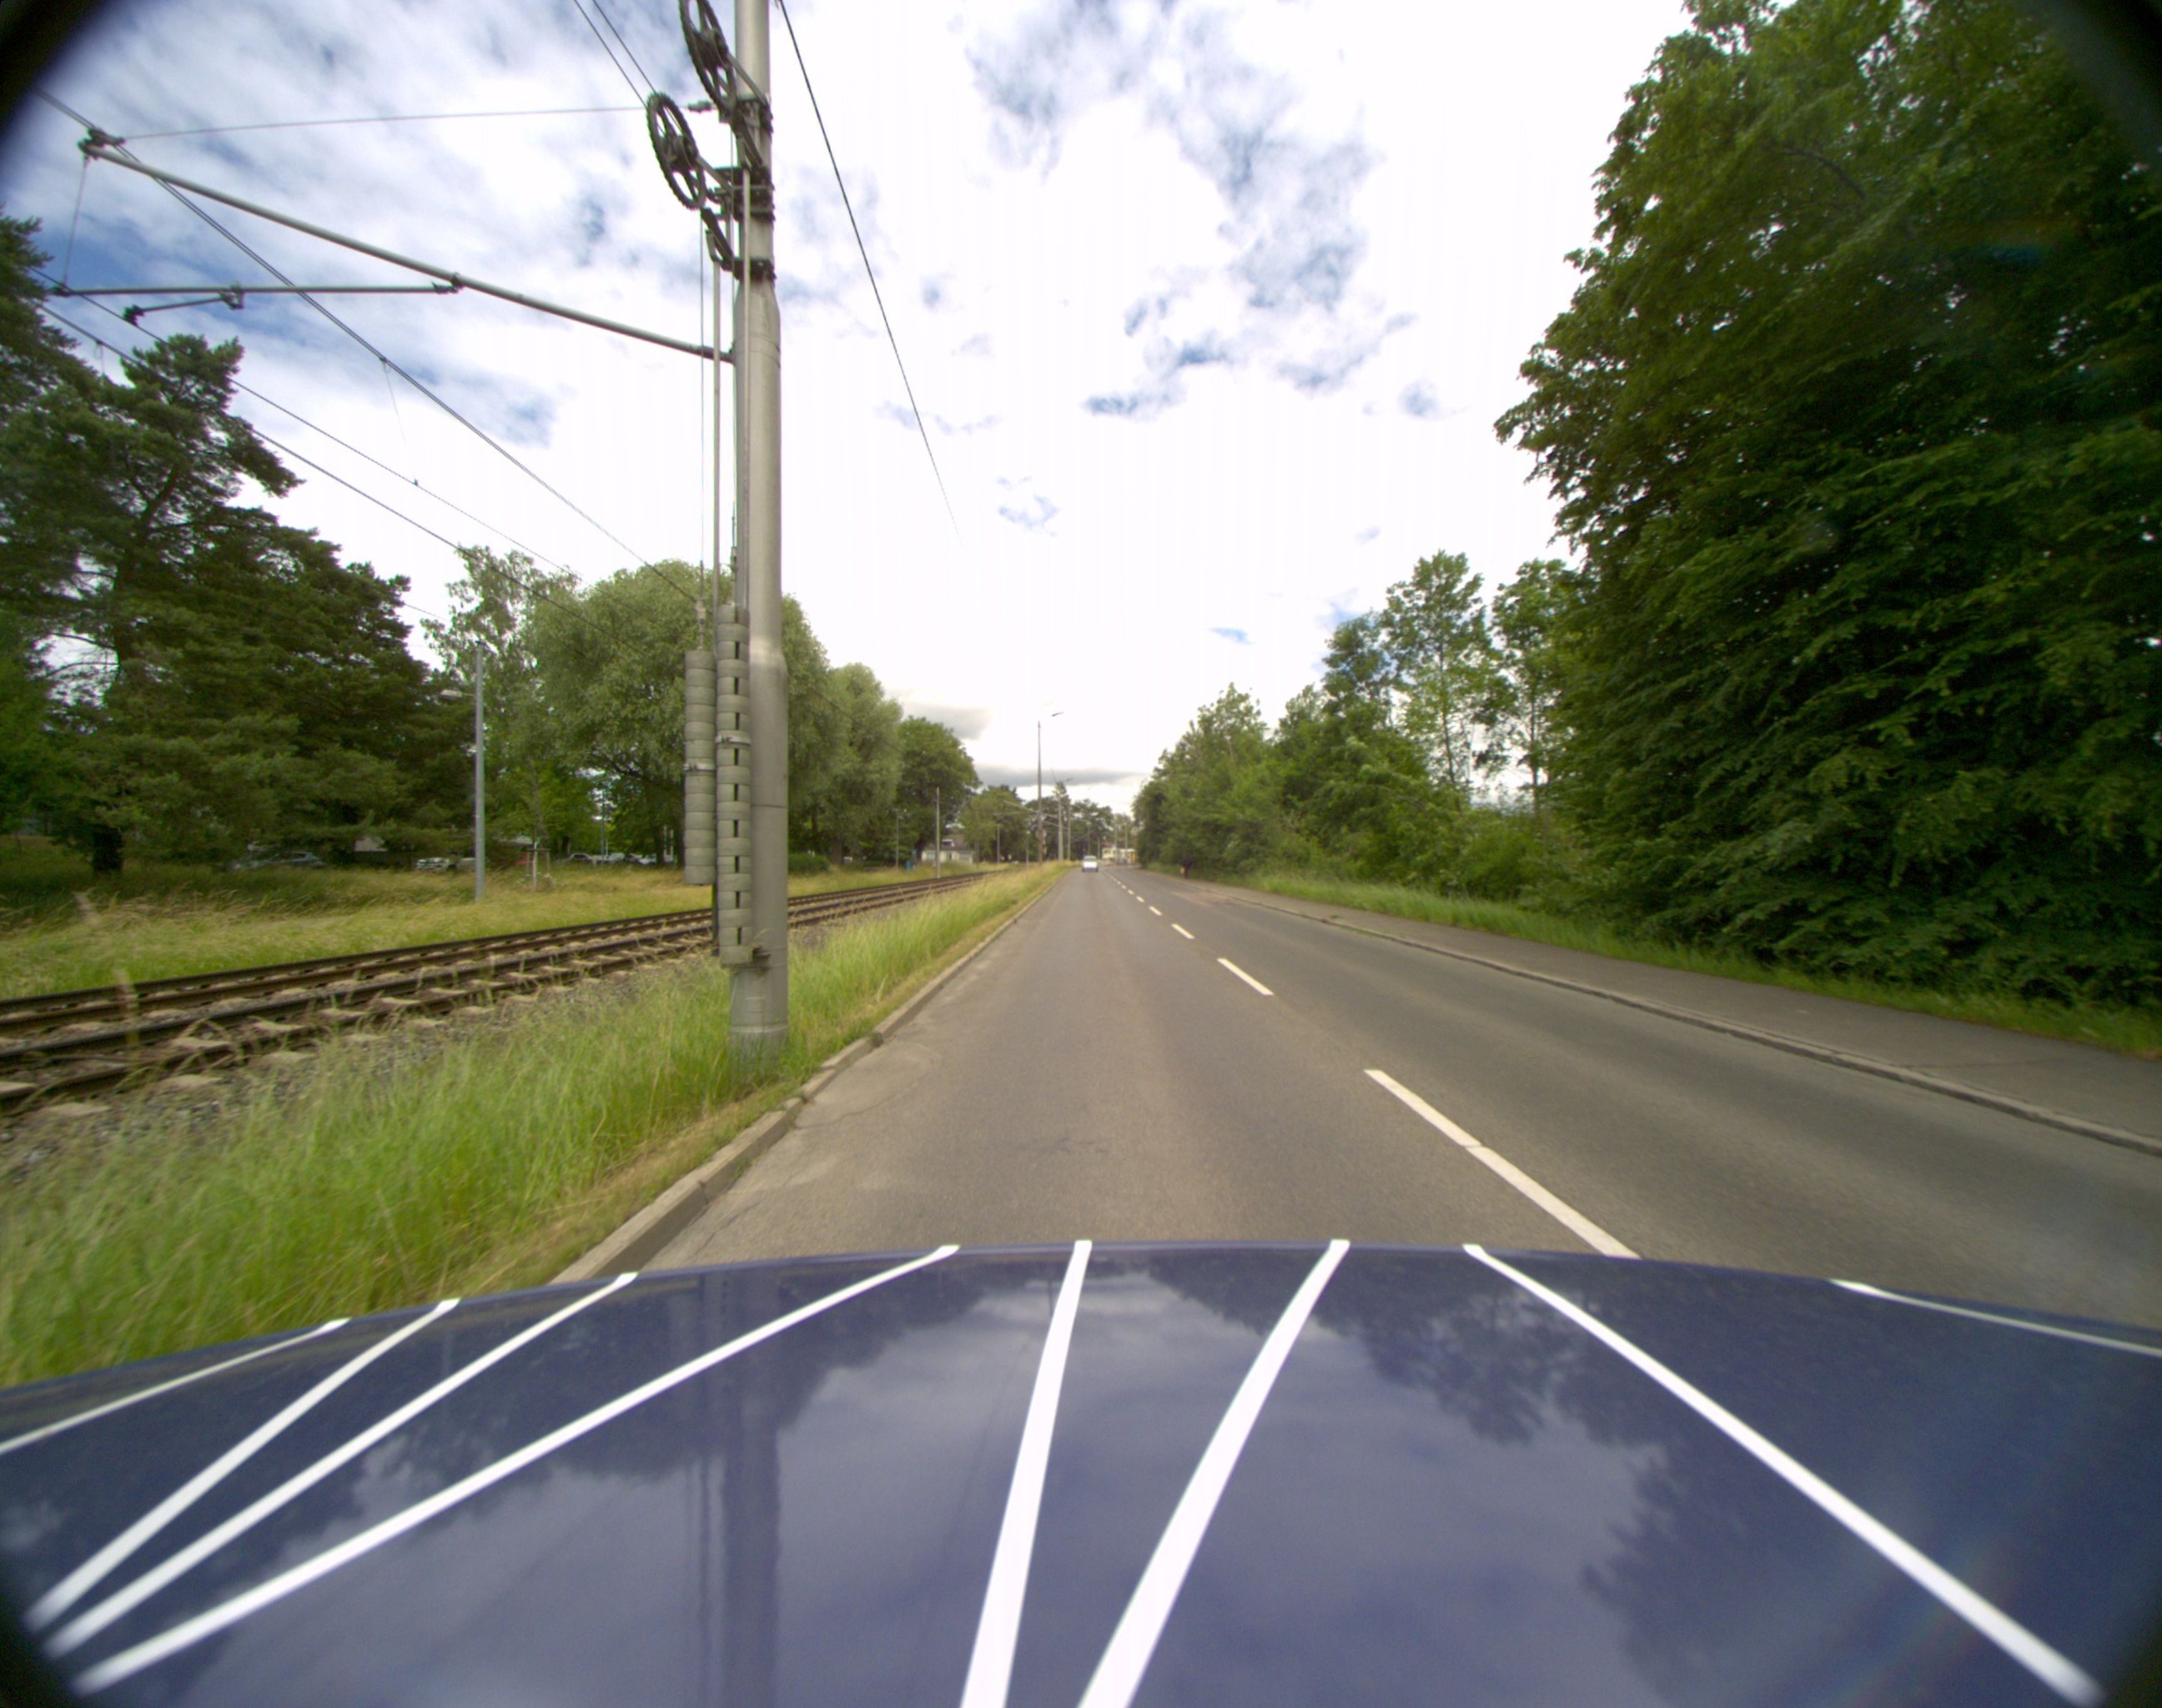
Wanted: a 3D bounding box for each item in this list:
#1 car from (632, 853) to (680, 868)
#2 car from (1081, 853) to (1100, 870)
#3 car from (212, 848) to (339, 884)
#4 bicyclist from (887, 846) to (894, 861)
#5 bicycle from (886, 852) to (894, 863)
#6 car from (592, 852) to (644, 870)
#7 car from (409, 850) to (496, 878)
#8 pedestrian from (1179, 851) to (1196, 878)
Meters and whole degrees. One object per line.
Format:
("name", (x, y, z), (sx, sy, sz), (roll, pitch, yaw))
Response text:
("car", (-40.064, 0.596, 71.731), (1.998, 1.434, 4.346), (-1, 0, 1))
("car", (1.062, 0.804, 79.791), (1.733, 1.638, 4.228), (-1, -1, 4))
("car", (-40.450, 0.562, 38.298), (1.998, 1.690, 4.001), (-1, 0, 3))
("bicyclist", (-21.840, -0.091, 87.095), (0.582, 1.686, 0.935), (-1, 1, -3))
("bicycle", (-21.832, 0.378, 86.915), (0.582, 1.239, 1.929), (-1, 0, -3))
("car", (-40.088, 0.586, 65.952), (1.998, 1.434, 4.000), (-1, 0, 1))
("car", (-40.322, 0.615, 48.891), (1.998, 1.690, 4.229), (-1, 0, 1))
("pedestrian", (7.047, 0.714, 50.282), (0.870, 1.759, 0.789), (2, 0, -5))
